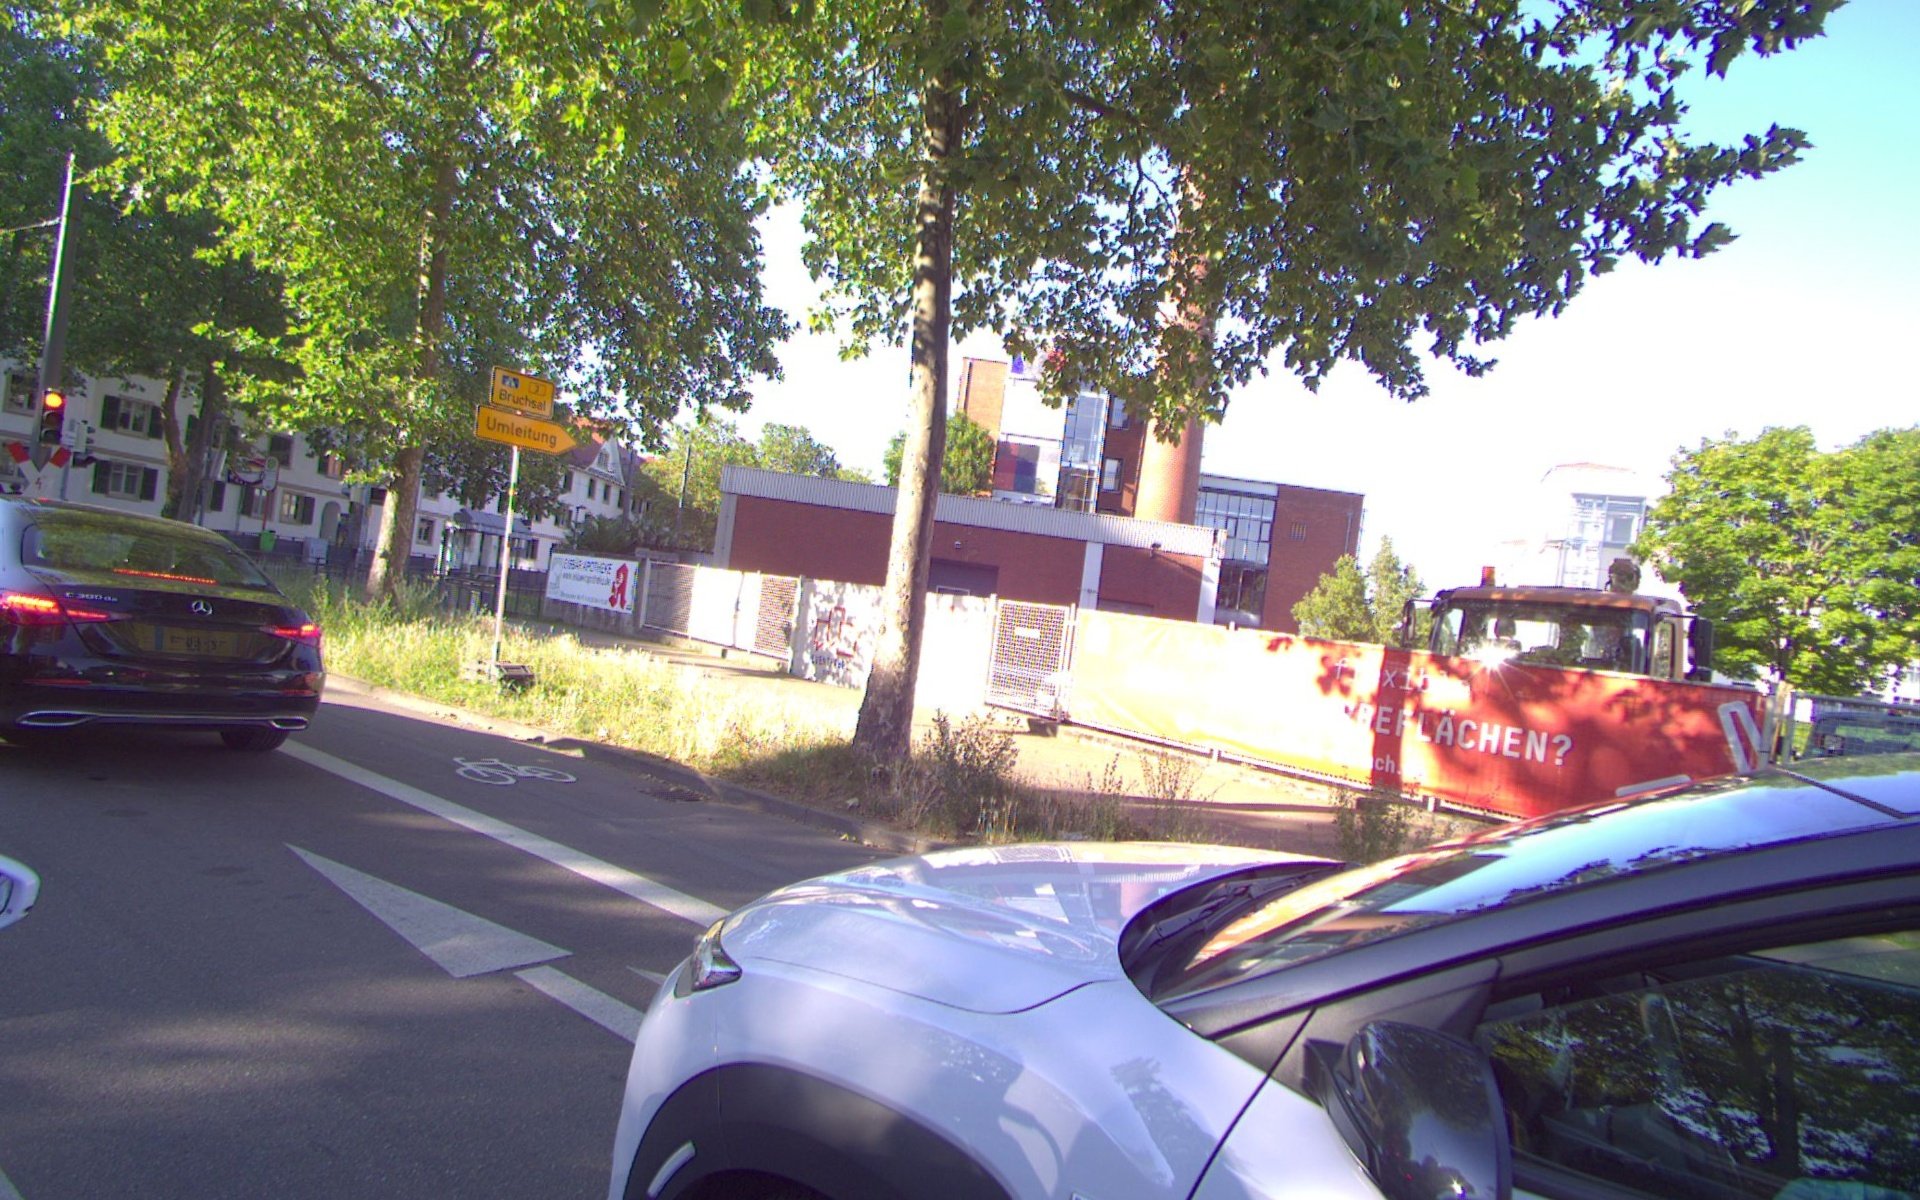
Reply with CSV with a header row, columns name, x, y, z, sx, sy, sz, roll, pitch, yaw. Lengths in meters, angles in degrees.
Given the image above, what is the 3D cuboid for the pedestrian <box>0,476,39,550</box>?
name,x,y,z,sx,sy,sz,roll,pitch,yaw
pedestrian,-26.514,-2.431,28.133,0.825,1.940,0.707,7,-1,28

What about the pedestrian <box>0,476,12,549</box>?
name,x,y,z,sx,sy,sz,roll,pitch,yaw
pedestrian,-26.111,-2.395,26.913,0.825,1.940,0.707,7,-1,28

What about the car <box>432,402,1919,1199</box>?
name,x,y,z,sx,sy,sz,roll,pitch,yaw
car,1.299,0.820,1.421,3.901,1.616,1.893,9,-1,33

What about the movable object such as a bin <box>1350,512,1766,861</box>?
name,x,y,z,sx,sy,sz,roll,pitch,yaw
movable object such as a bin,7.651,1.034,12.407,3.172,3.084,6.266,6,-2,41

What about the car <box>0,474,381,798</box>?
name,x,y,z,sx,sy,sz,roll,pitch,yaw
car,-5.996,0.019,6.703,4.310,1.508,1.892,9,-1,34

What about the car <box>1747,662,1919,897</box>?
name,x,y,z,sx,sy,sz,roll,pitch,yaw
car,9.580,1.824,10.149,2.016,1.849,4.583,6,-3,44
